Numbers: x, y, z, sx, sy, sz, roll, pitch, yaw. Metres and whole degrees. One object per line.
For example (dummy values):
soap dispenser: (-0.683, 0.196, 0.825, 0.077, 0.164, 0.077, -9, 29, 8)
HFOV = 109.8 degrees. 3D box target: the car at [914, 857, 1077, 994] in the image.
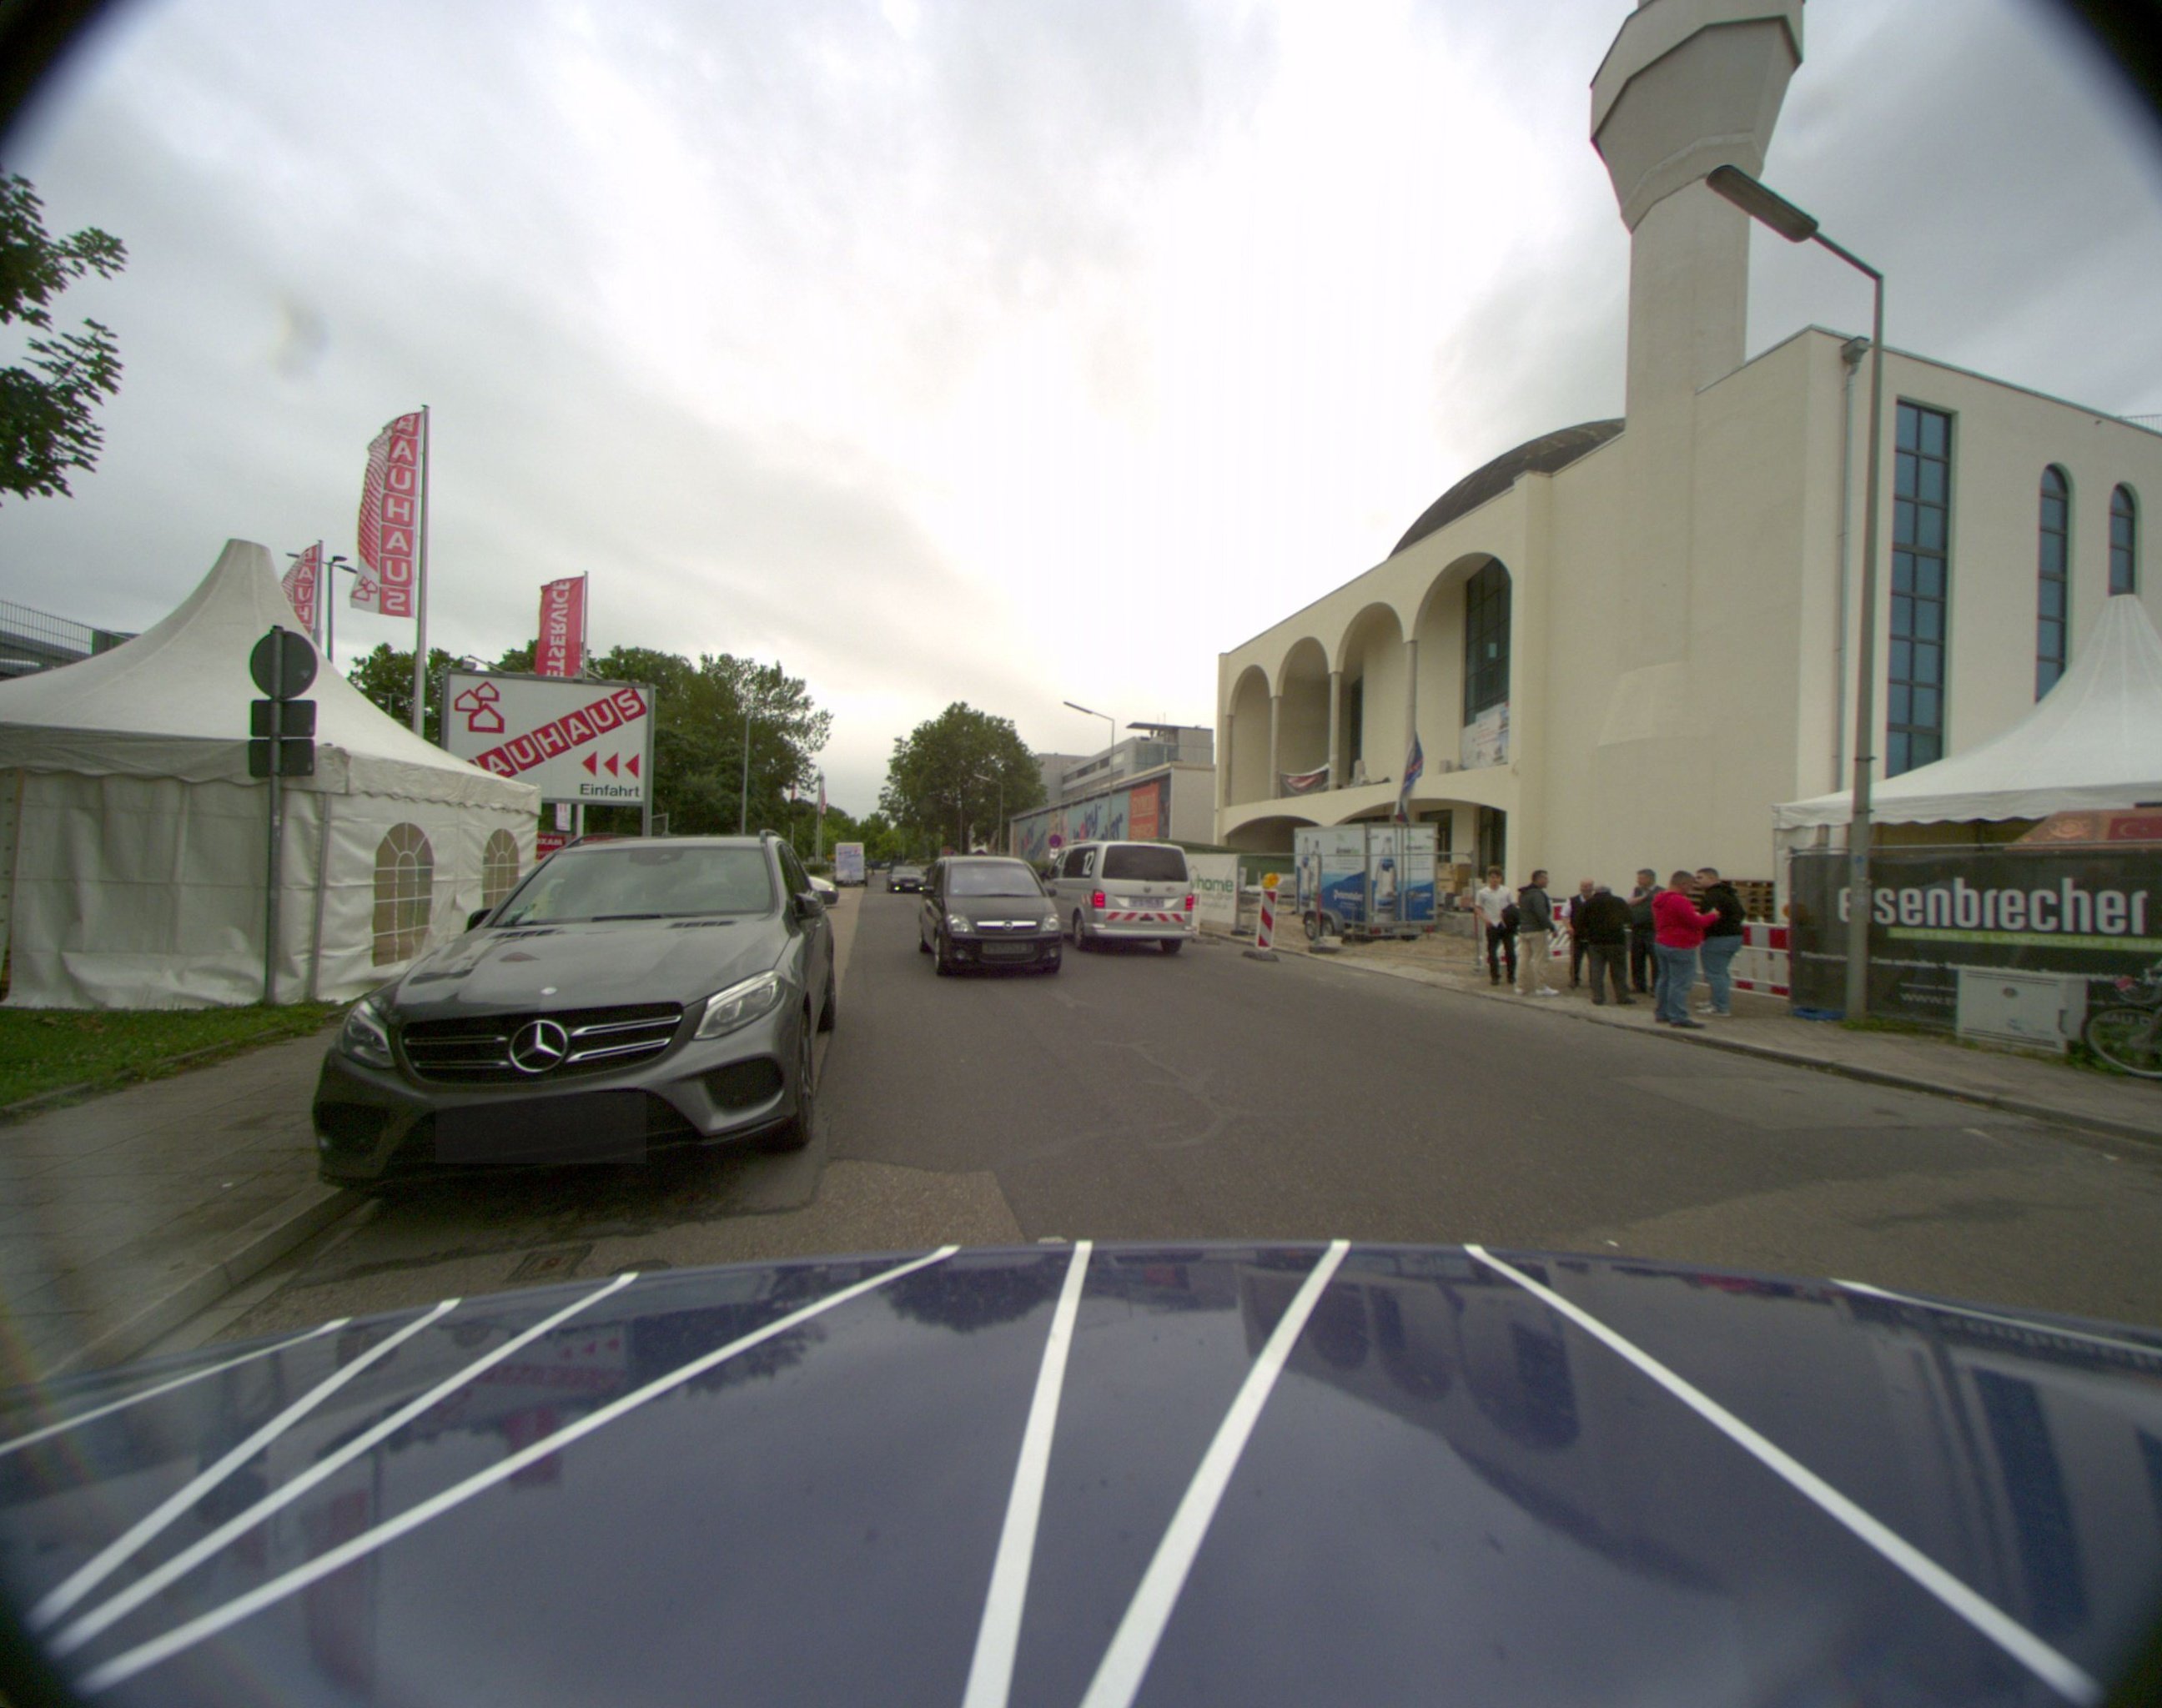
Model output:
car: (-1.419, 0.888, 11.111, 1.688, 1.622, 3.753, 2, 0, -17)

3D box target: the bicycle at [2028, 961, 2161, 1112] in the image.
bicycle: (8.731, 1.485, 5.759, 0.546, 1.071, 1.899, 1, 1, -9)

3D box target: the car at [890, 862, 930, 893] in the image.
car: (-8.383, 1.085, 37.117, 1.752, 1.351, 4.132, 0, 1, -15)

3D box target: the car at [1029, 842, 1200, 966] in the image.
car: (0.408, 0.808, 14.850, 1.934, 2.002, 4.948, 2, 0, -14)

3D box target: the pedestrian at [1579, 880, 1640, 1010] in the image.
pedestrian: (6.835, 1.153, 9.852, 0.570, 1.602, 0.492, 2, 0, 30)

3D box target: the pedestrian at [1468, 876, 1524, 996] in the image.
pedestrian: (6.279, 1.214, 11.502, 0.689, 1.739, 0.492, 2, 0, 30)

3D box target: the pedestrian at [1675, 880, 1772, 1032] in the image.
pedestrian: (7.629, 1.177, 9.059, 0.694, 1.707, 0.689, -3, -1, 29)

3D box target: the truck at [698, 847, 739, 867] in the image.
truck: (-43.828, 0.399, 91.958, 1.995, 2.382, 4.008, 1, 0, 25)

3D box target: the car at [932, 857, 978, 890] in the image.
car: (-7.079, 1.035, 42.341, 1.967, 1.652, 4.647, 4, -1, -15)

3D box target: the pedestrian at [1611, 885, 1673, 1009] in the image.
pedestrian: (7.638, 1.240, 10.349, 0.542, 1.602, 0.489, -1, 1, -32)

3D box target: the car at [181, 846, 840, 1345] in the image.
car: (-2.774, 0.857, 5.093, 1.916, 1.731, 4.474, -2, 0, -15)

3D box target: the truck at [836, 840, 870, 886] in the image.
truck: (-13.806, 0.521, 46.135, 1.855, 2.597, 3.994, -2, 1, -16)

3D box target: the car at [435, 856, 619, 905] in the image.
car: (-16.579, 0.792, 22.954, 4.118, 1.412, 1.728, 1, 0, -14)

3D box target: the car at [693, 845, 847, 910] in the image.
car: (-10.027, 0.768, 24.850, 4.387, 1.796, 1.798, 4, -1, -17)

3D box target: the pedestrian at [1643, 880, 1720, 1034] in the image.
pedestrian: (6.635, 1.111, 8.397, 0.492, 1.602, 0.539, 3, 0, -43)

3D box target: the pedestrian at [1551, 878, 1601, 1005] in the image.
pedestrian: (7.063, 1.221, 10.852, 0.527, 1.739, 0.492, 2, 0, 30)

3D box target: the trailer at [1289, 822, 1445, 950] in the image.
trailer: (6.326, 0.687, 17.183, 1.805, 2.591, 3.187, 2, 0, -12)

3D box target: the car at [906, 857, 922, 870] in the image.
car: (-21.958, 1.253, 99.742, 1.932, 1.564, 3.995, 2, -1, -14)

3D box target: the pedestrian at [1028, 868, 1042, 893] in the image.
pedestrian: (-2.956, 1.683, 49.117, 0.794, 1.570, 0.601, 0, 1, -15)

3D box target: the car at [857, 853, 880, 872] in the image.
car: (-21.133, 0.819, 75.752, 2.001, 1.739, 3.995, 2, 0, -14)

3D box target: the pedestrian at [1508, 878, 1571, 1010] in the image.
pedestrian: (6.358, 1.222, 10.549, 0.689, 1.739, 0.492, 2, 0, 30)
